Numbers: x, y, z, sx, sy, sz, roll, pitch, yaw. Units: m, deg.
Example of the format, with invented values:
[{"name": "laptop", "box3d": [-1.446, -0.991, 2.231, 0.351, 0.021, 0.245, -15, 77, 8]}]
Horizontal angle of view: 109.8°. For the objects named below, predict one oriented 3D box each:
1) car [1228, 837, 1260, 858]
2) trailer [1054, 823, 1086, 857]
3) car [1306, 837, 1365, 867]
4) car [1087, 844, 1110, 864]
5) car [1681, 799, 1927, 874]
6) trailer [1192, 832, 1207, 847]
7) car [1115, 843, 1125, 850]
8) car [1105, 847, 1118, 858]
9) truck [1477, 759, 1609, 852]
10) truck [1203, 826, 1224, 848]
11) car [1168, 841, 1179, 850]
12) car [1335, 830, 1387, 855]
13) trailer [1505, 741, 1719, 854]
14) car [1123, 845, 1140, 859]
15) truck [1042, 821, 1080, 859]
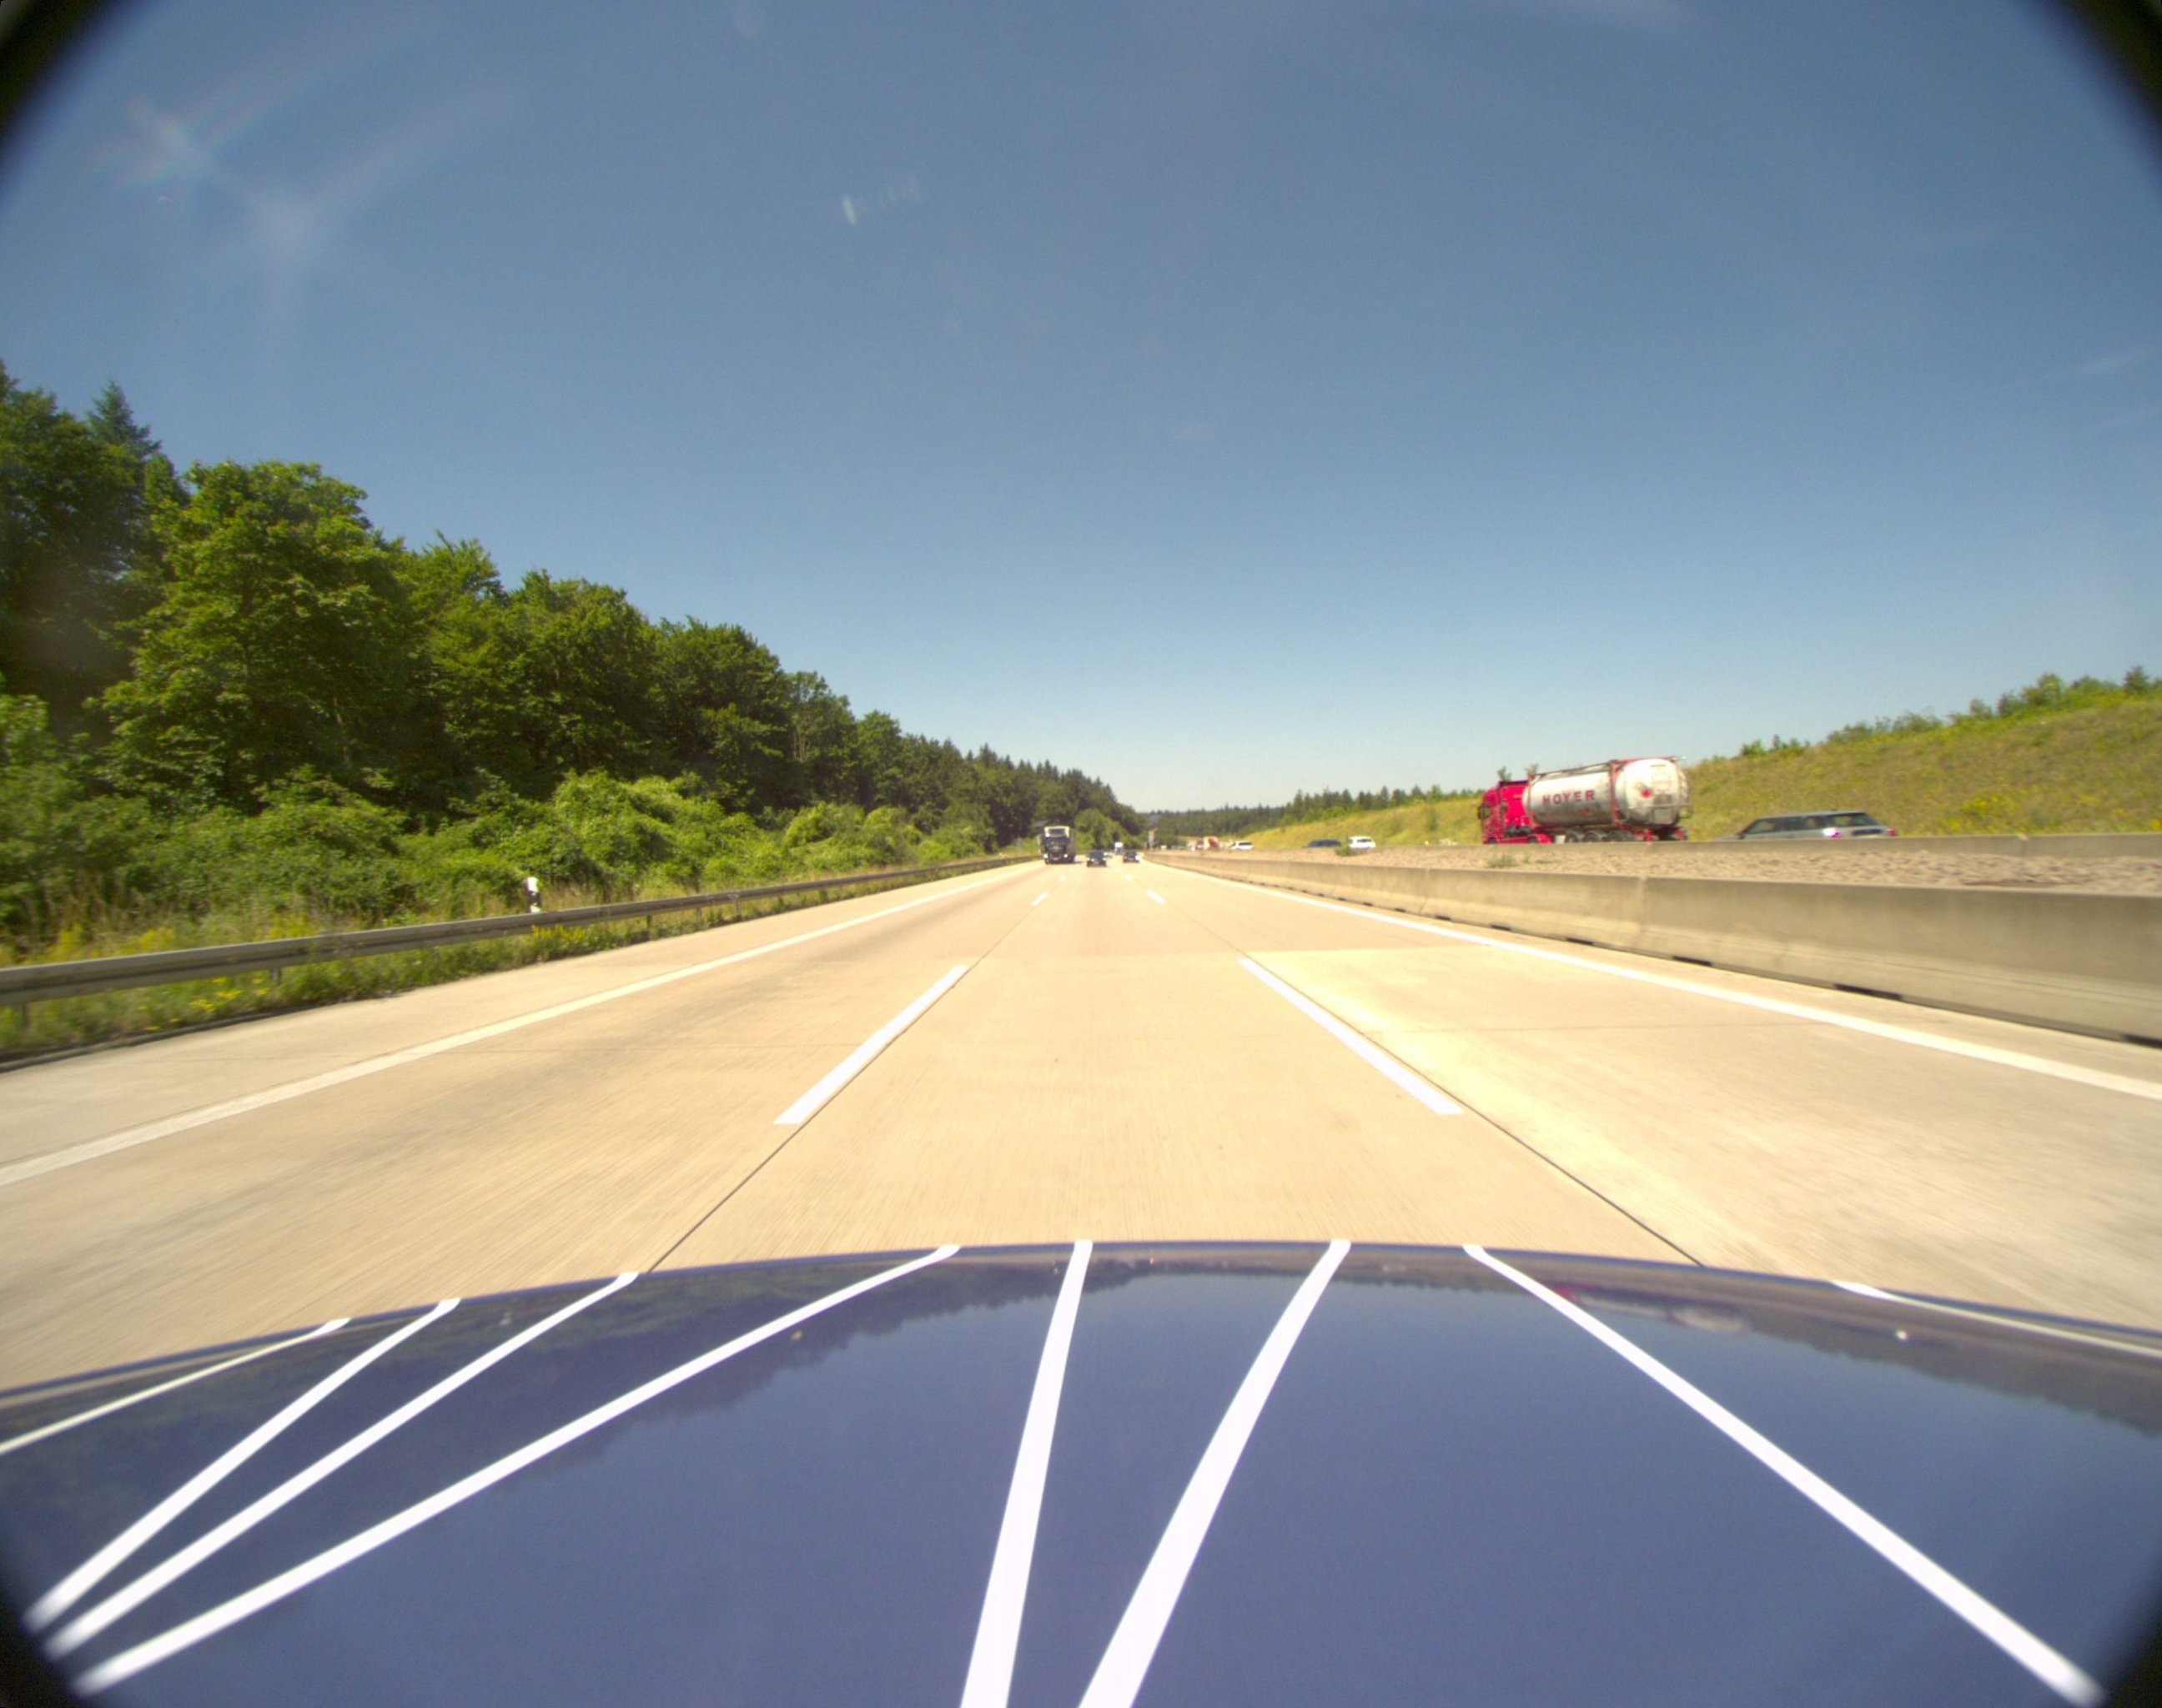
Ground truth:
[{"name": "car", "box3d": [15.651, -0.655, 73.165, 1.998, 1.862, 4.968, -2, 1, 1]}, {"name": "trailer", "box3d": [-1.314, -1.677, 95.215, 3.141, 3.994, 9.090, -1, 1, 5]}, {"name": "car", "box3d": [14.704, -0.155, 44.220, 1.998, 1.574, 4.463, -2, 1, 1]}, {"name": "car", "box3d": [1.646, -0.015, 69.200, 1.930, 1.694, 4.400, -3, 1, 3]}, {"name": "car", "box3d": [17.768, -0.412, 19.048, 1.998, 1.574, 4.430, -2, 1, 1]}, {"name": "trailer", "box3d": [34.066, -4.253, 218.862, 2.940, 4.145, 13.192, -3, 1, 5]}, {"name": "car", "box3d": [9.690, -1.900, 189.460, 1.841, 1.547, 4.002, -3, 1, 9]}, {"name": "car", "box3d": [5.308, -0.260, 132.197, 1.998, 1.694, 4.401, -3, 1, 6]}, {"name": "truck", "box3d": [22.834, -2.263, 37.970, 2.940, 4.145, 5.981, -3, 1, 1]}, {"name": "truck", "box3d": [27.444, -3.490, 157.645, 2.921, 4.487, 11.259, 0, 1, 2]}, {"name": "car", "box3d": [21.037, -1.894, 172.403, 1.998, 2.002, 4.459, 0, 1, 0]}, {"name": "car", "box3d": [18.802, -0.768, 51.260, 1.998, 1.574, 4.179, -2, 1, 1]}, {"name": "trailer", "box3d": [22.723, -2.200, 33.457, 2.940, 4.145, 9.334, -3, 1, 1]}, {"name": "car", "box3d": [5.789, -0.232, 87.543, 1.842, 1.547, 4.000, -3, 1, 4]}, {"name": "truck", "box3d": [-2.093, -1.547, 85.388, 3.166, 3.994, 10.609, -1, 1, 4]}]
